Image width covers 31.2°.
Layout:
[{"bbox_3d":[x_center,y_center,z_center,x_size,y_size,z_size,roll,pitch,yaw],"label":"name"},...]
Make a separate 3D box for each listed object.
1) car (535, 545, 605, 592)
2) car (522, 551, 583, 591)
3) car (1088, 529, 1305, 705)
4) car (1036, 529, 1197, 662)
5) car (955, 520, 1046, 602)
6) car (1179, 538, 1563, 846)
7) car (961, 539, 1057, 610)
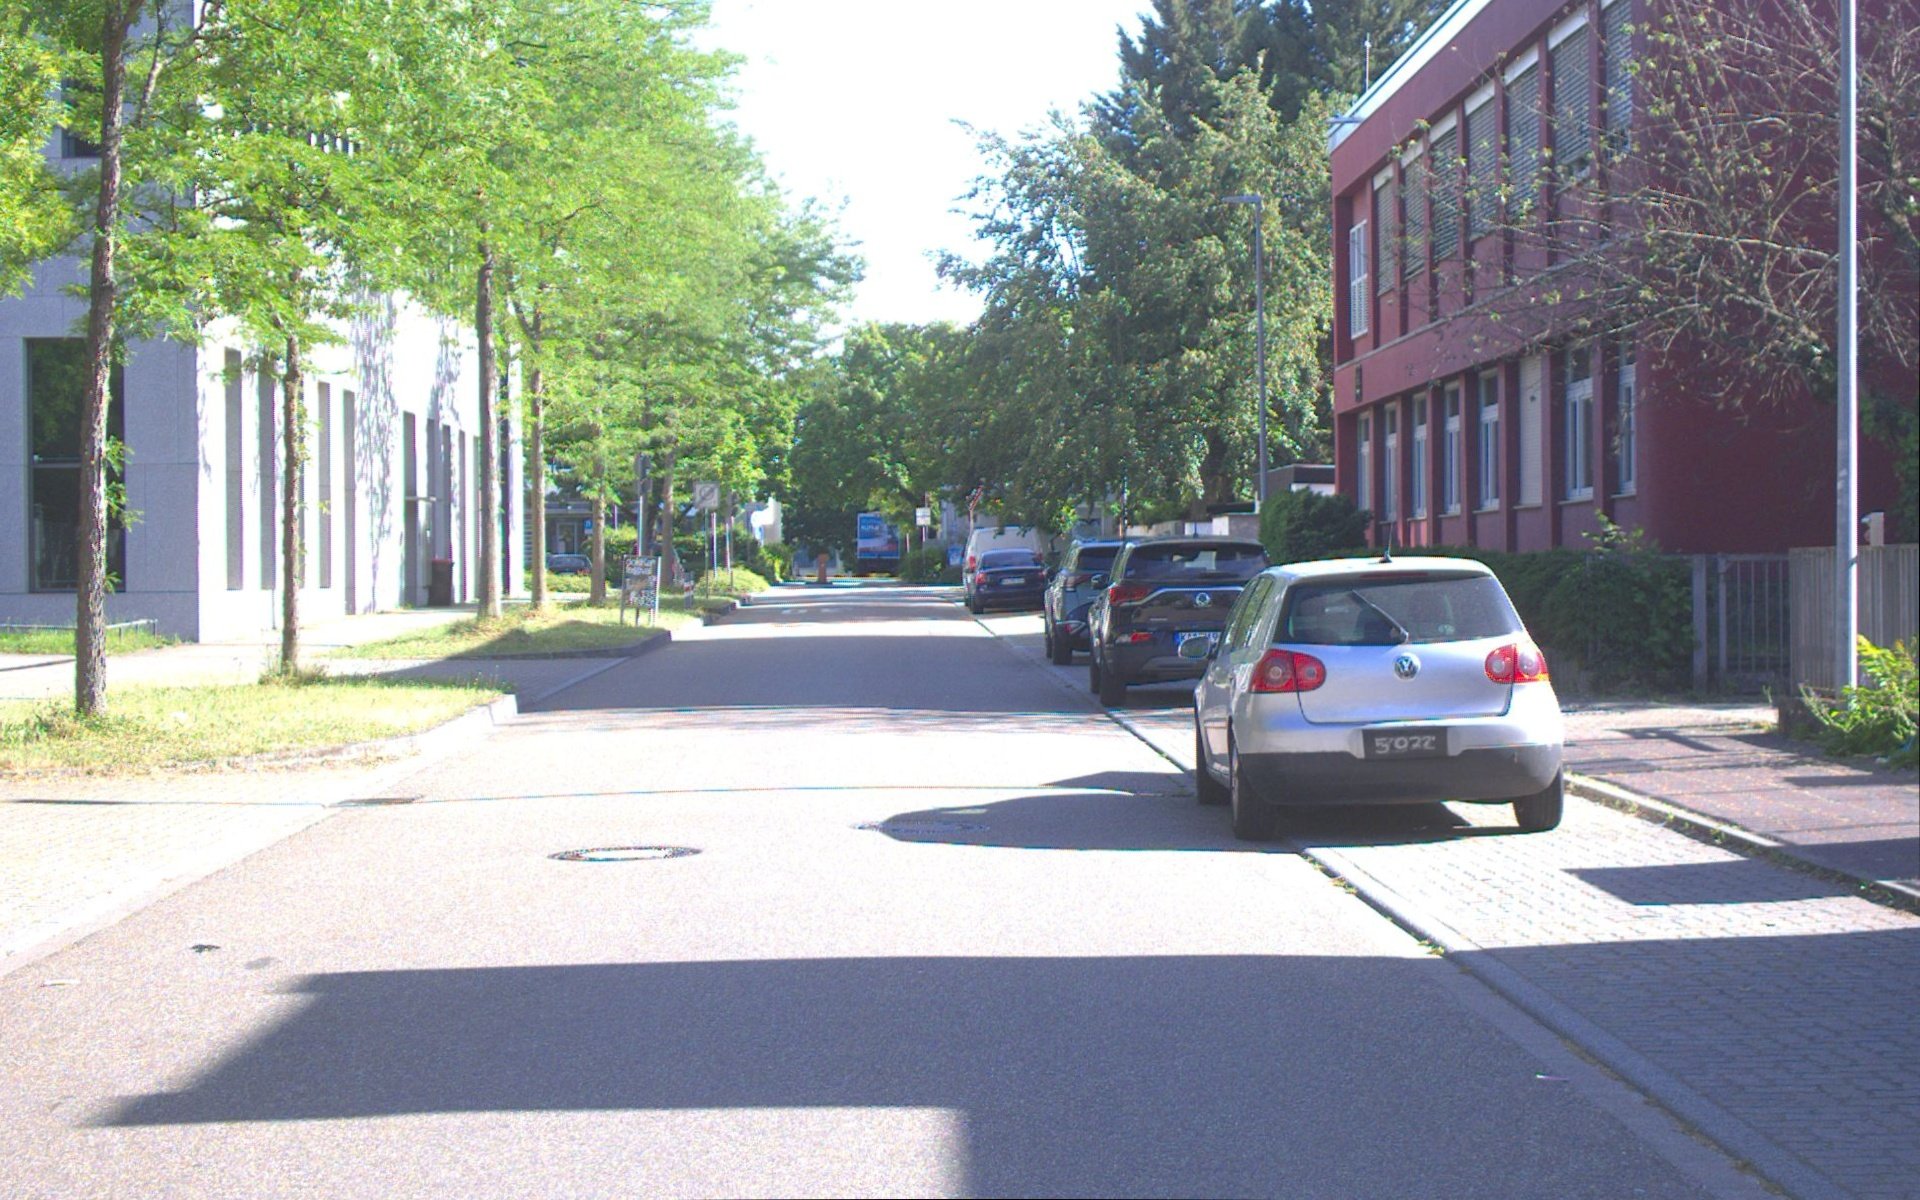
[{"bbox_3d":[-12.217,-0.992,107.902,1.993,1.453,3.794,0,1,-4],"label":"car"},{"bbox_3d":[-14.133,-1.028,119.375,1.905,1.337,3.794,0,1,-4],"label":"car"},{"bbox_3d":[2.268,0.123,33.955,1.838,1.628,4.201,0,1,0],"label":"car"},{"bbox_3d":[2.002,-0.096,44.944,1.855,1.642,4.000,-1,1,-1],"label":"car"},{"bbox_3d":[0.957,-0.957,83.502,1.993,1.828,4.000,-3,1,-1],"label":"car"},{"bbox_3d":[2.206,0.429,19.362,1.660,1.556,3.935,0,1,0],"label":"car"},{"bbox_3d":[1.083,-0.599,77.710,1.993,1.437,4.000,-3,1,-1],"label":"car"}]
